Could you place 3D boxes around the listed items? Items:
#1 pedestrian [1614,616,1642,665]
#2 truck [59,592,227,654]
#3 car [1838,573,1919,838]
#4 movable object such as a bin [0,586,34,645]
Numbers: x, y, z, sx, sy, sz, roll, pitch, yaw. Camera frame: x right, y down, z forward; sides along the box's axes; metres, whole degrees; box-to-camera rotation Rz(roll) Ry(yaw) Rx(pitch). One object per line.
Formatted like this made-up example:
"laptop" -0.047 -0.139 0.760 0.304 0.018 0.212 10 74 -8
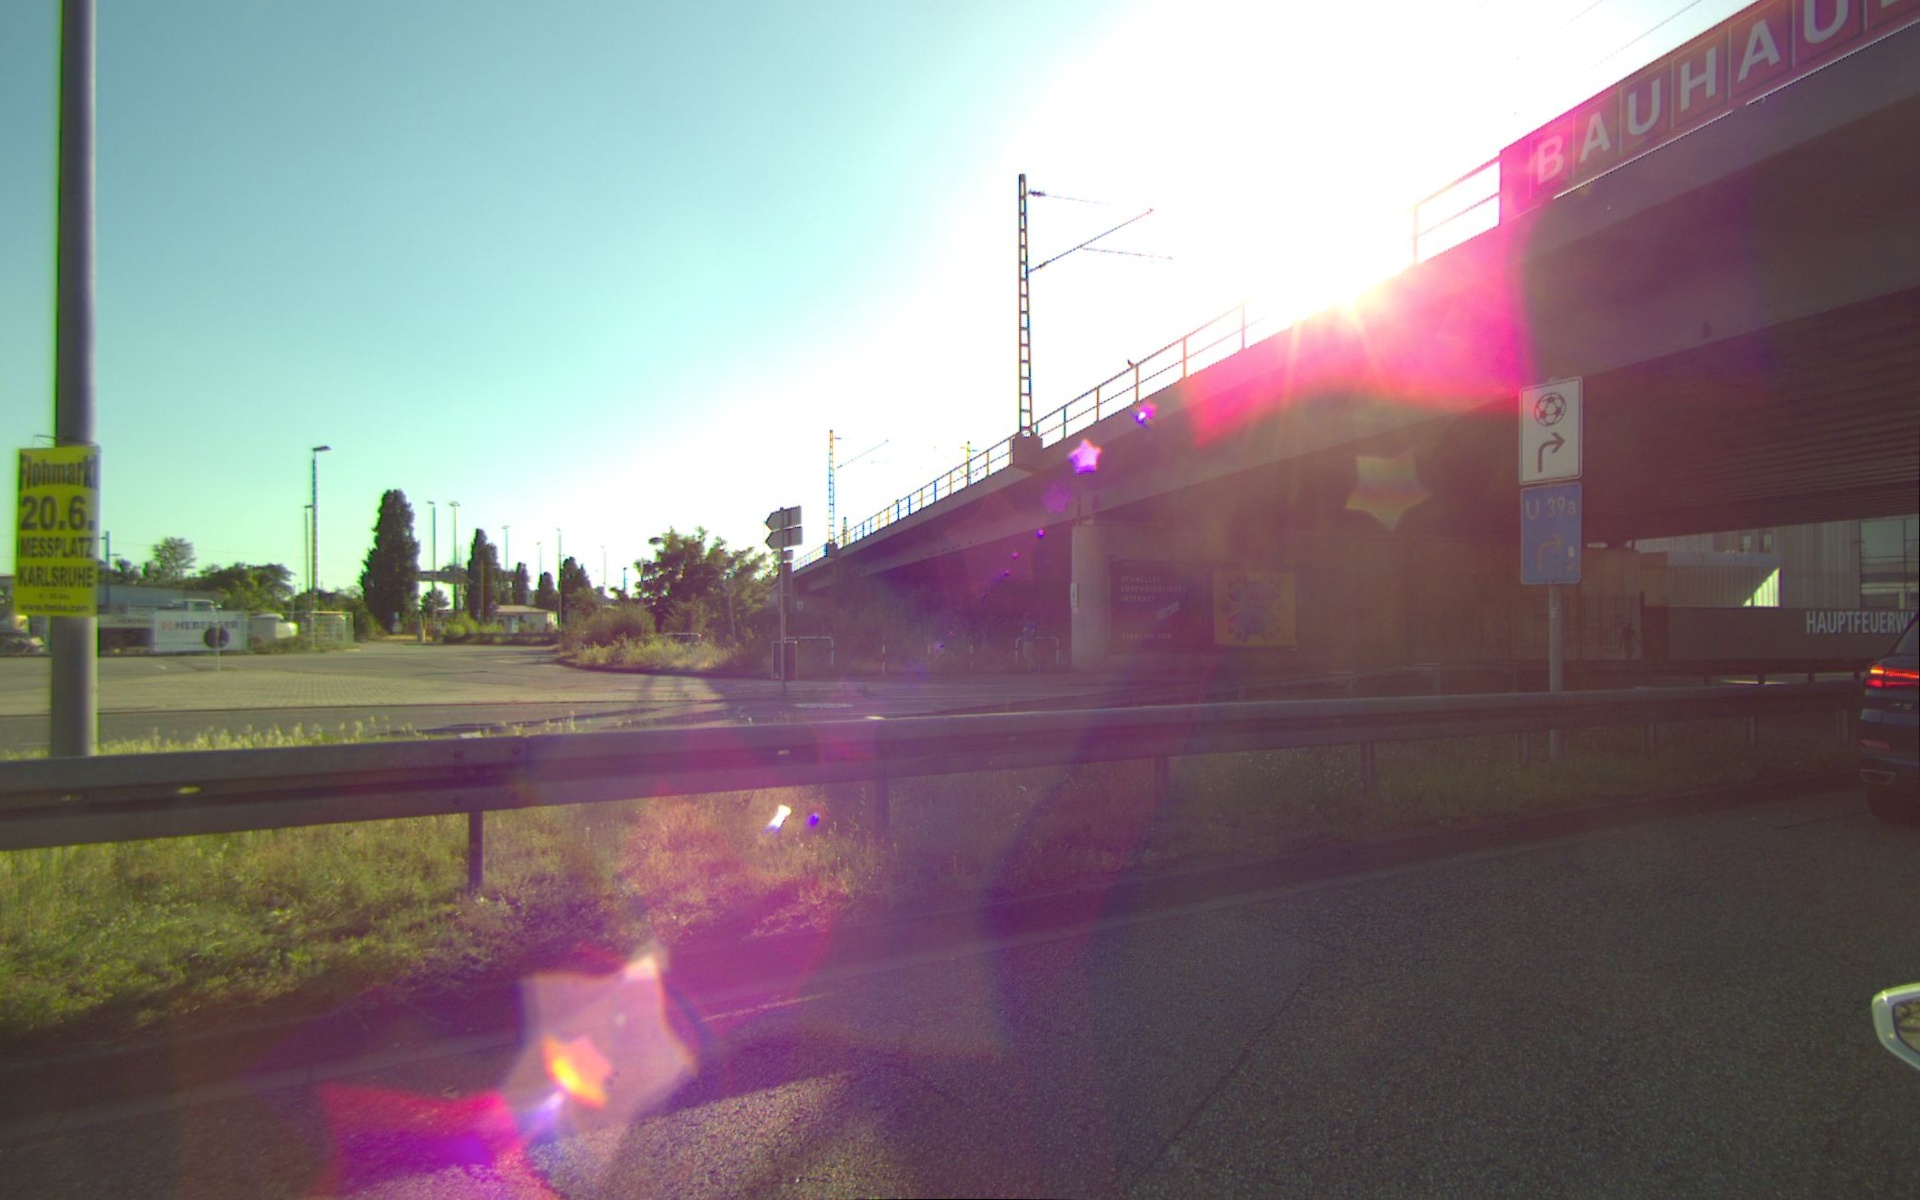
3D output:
"pedestrian" 26.986 1.630 40.601 0.656 1.928 0.692 2 -1 -24
"truck" -44.884 1.303 55.456 2.393 3.186 6.774 1 -2 25
"car" 8.545 0.772 7.346 4.407 1.761 1.822 2 -2 -29
"movable object such as a bin" -45.006 0.719 47.104 2.204 2.751 1.717 2 -1 -43
